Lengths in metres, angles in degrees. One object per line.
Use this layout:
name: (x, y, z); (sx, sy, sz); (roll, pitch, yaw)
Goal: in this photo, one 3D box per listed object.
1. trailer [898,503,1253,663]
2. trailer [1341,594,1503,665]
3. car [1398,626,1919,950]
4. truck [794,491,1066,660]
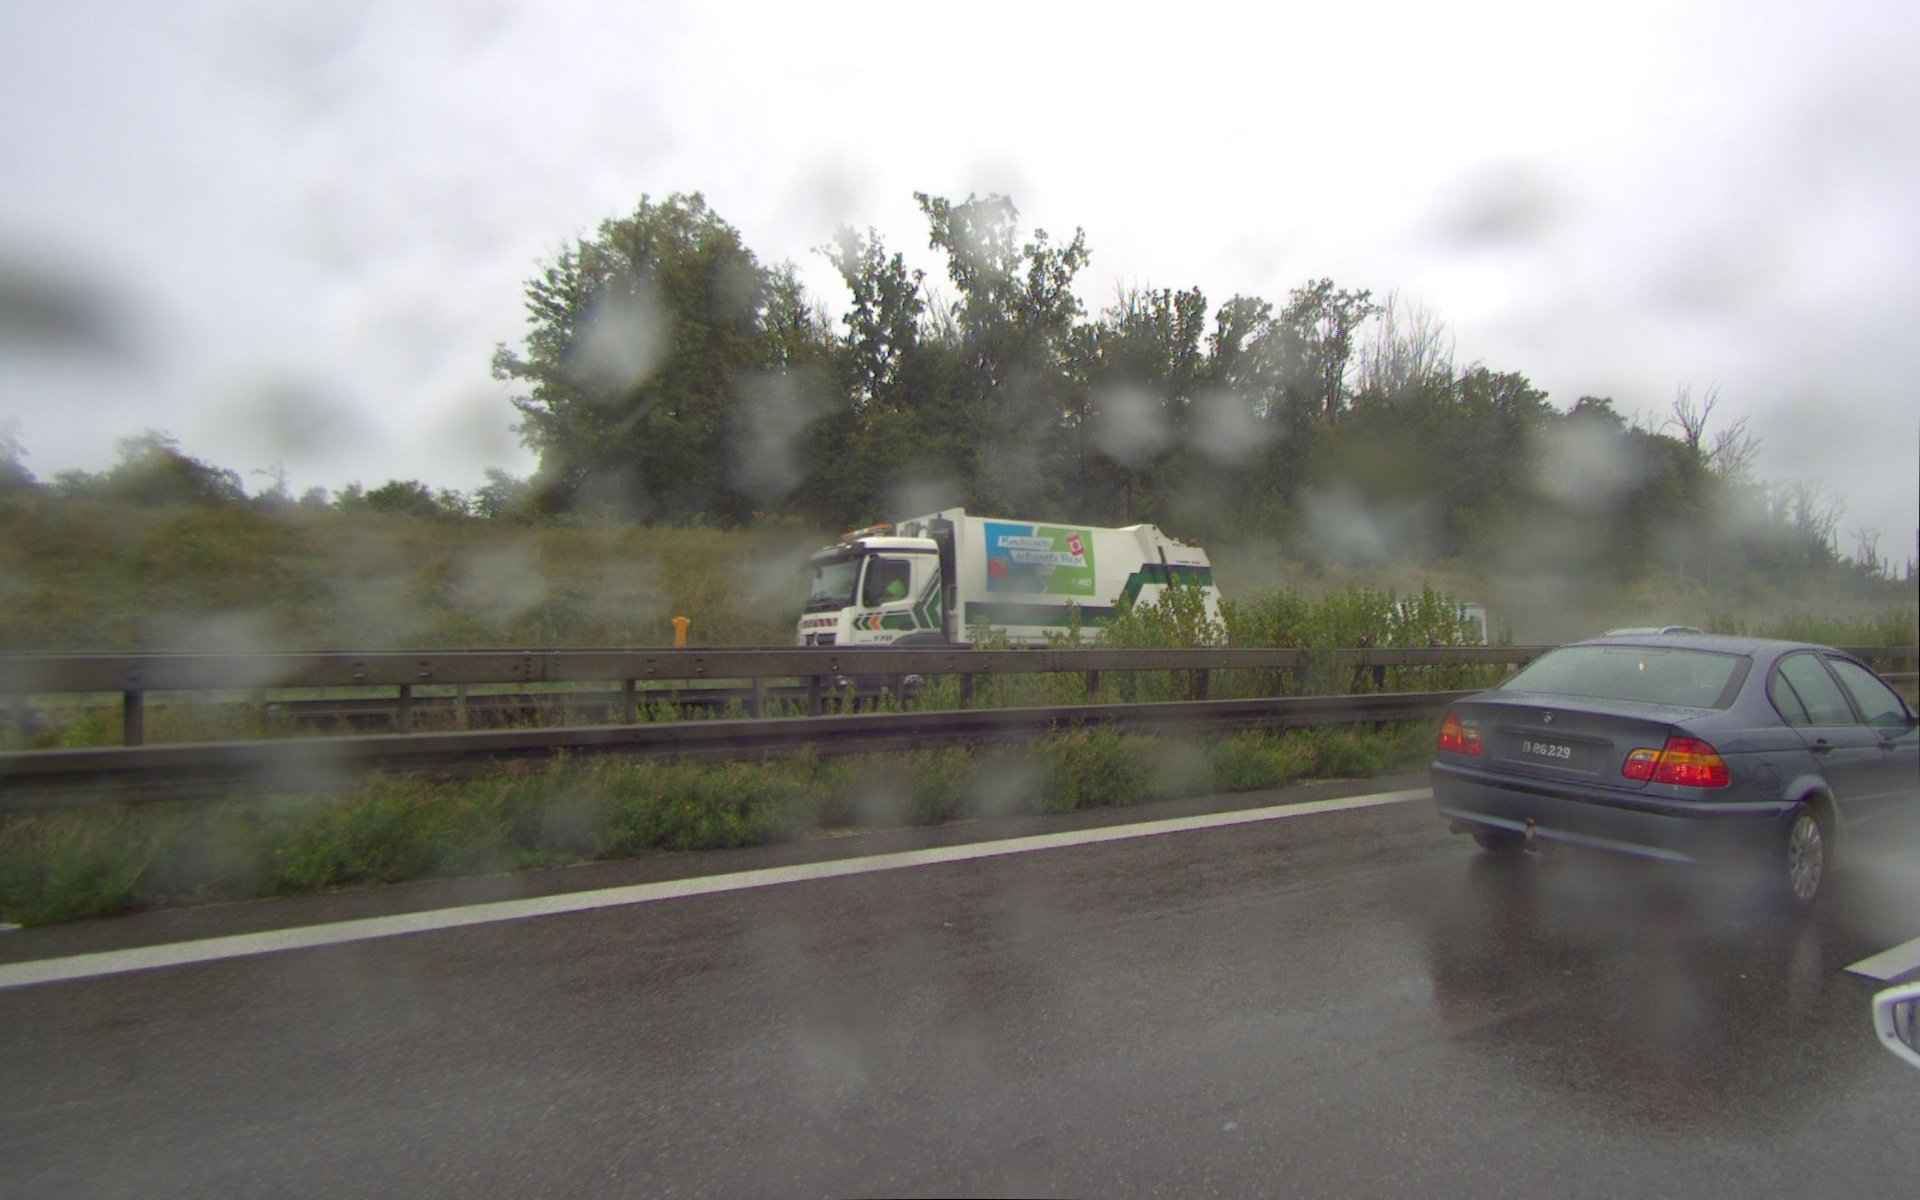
trailer: (2.521, -0.149, 20.702); (7.237, 2.754, 2.470); (3, -3, -30)
trailer: (14.703, 1.001, 31.877); (5.290, 2.040, 2.082); (3, -3, -31)
car: (4.827, 0.908, 6.361); (4.183, 1.418, 1.709); (1, -1, -32)
truck: (-0.560, -0.302, 18.917); (4.474, 2.754, 2.471); (3, -3, -30)
